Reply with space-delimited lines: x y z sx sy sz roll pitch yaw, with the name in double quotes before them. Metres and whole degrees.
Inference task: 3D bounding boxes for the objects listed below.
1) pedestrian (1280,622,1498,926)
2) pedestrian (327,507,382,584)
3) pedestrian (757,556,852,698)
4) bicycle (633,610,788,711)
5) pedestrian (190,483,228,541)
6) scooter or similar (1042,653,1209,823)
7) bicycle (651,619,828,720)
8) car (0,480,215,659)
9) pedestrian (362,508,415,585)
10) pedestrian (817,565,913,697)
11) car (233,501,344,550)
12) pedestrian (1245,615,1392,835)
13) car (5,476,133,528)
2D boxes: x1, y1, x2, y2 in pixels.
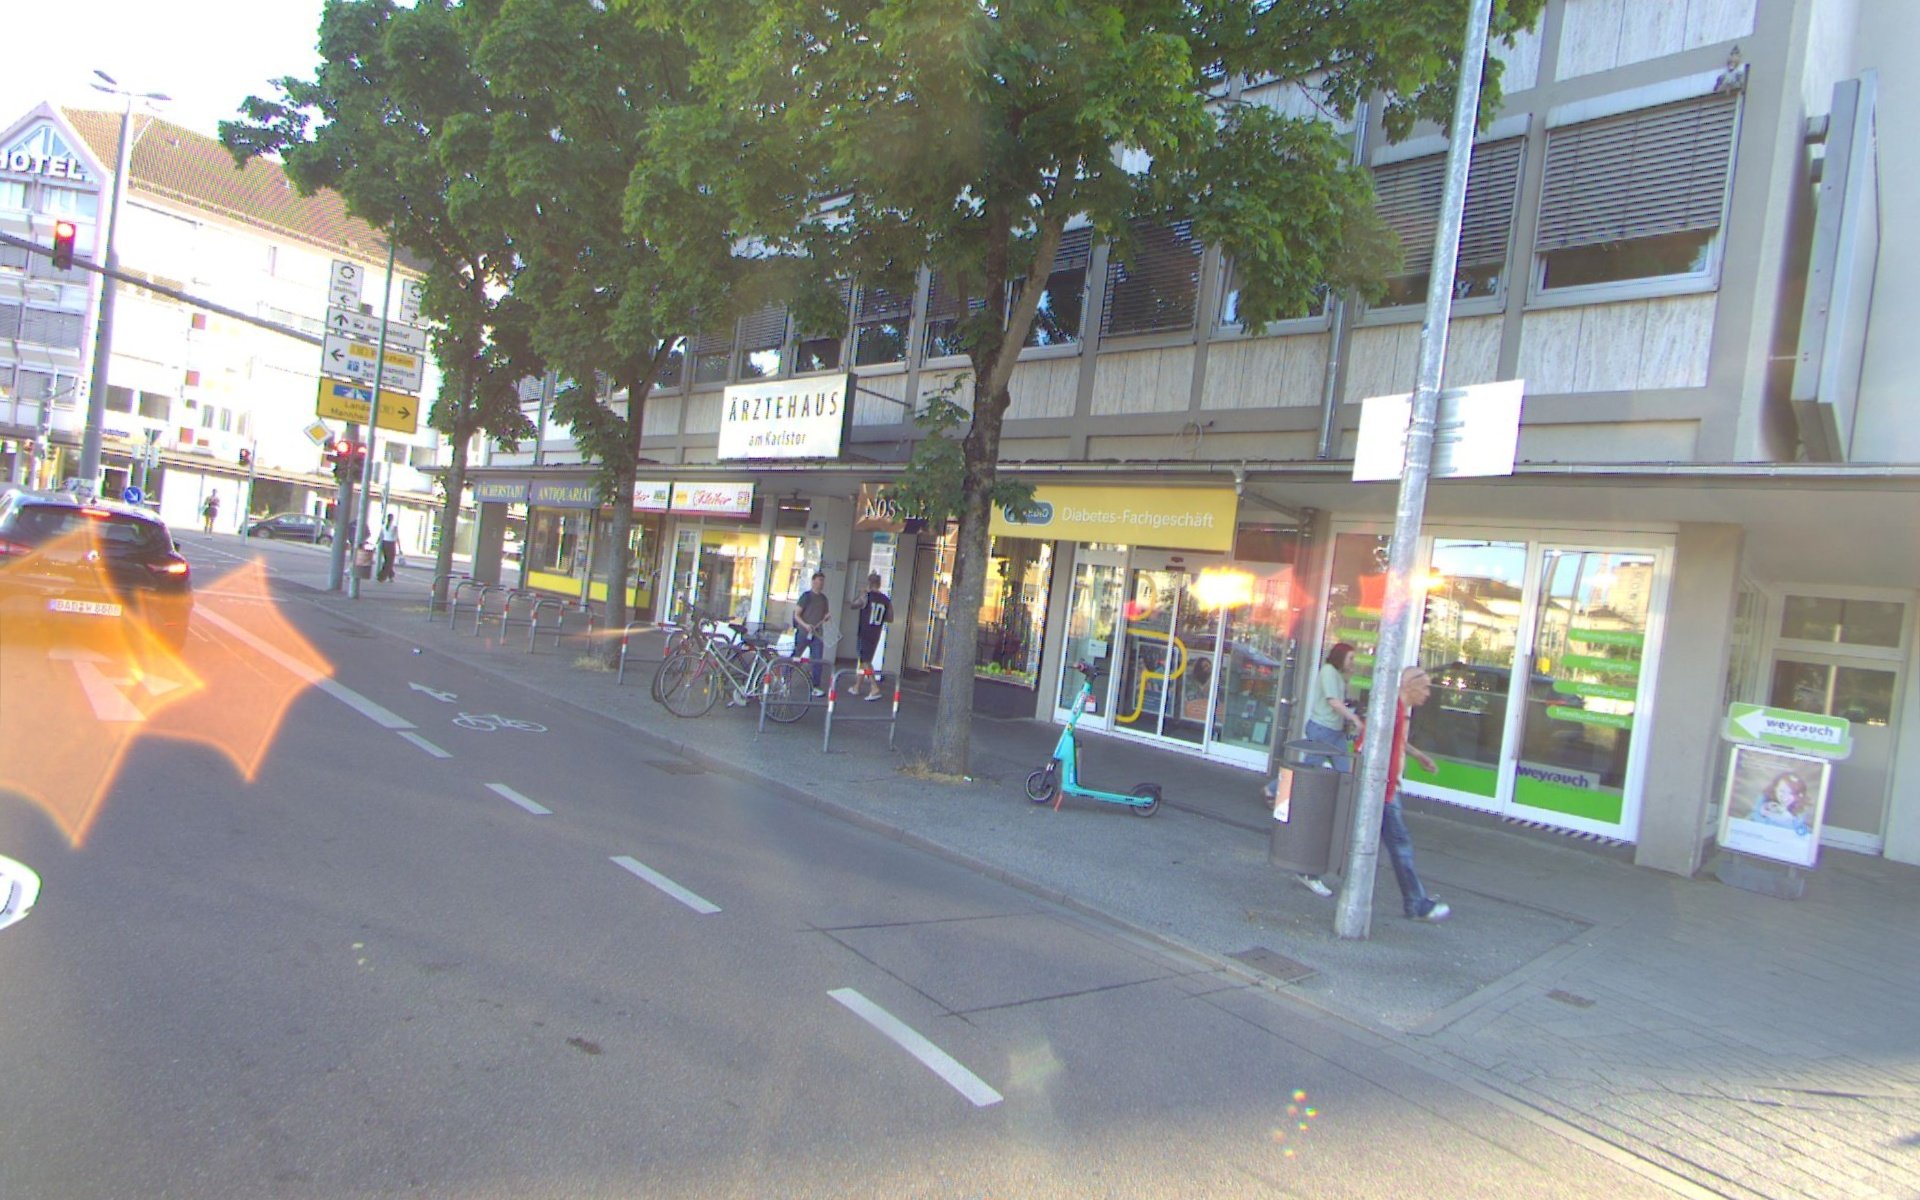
"pedestrian" 2.772 1.087 6.639 1.029 1.704 0.827 8 -1 18
"pedestrian" -15.671 -1.397 26.057 0.717 1.851 0.995 8 -1 -14
"pedestrian" -2.136 0.367 13.828 0.745 1.799 0.790 9 -1 -44
"bicycle" -2.891 0.726 11.765 1.652 0.985 0.382 10 -1 -40
"pedestrian" -25.468 -2.988 34.134 0.745 1.799 0.790 9 -1 -44
"scooter or similar" 1.350 1.122 8.262 1.198 1.232 0.294 7 0 -1
"bicycle" -2.378 0.784 11.012 1.812 0.901 0.410 10 -1 -40
"car" -9.488 -0.427 10.702 3.947 1.457 1.761 8 -1 44
"pedestrian" -14.867 -1.372 26.209 0.717 1.851 0.995 8 -1 -13
"pedestrian" -1.341 0.439 14.181 0.883 1.703 0.745 8 -1 45
"car" -34.430 -3.795 51.655 1.972 1.715 4.232 8 -2 41
"pedestrian" 3.308 1.123 9.262 0.956 1.799 0.748 8 -1 28
"car" -39.855 -4.363 45.051 1.972 1.493 3.985 8 -2 41
